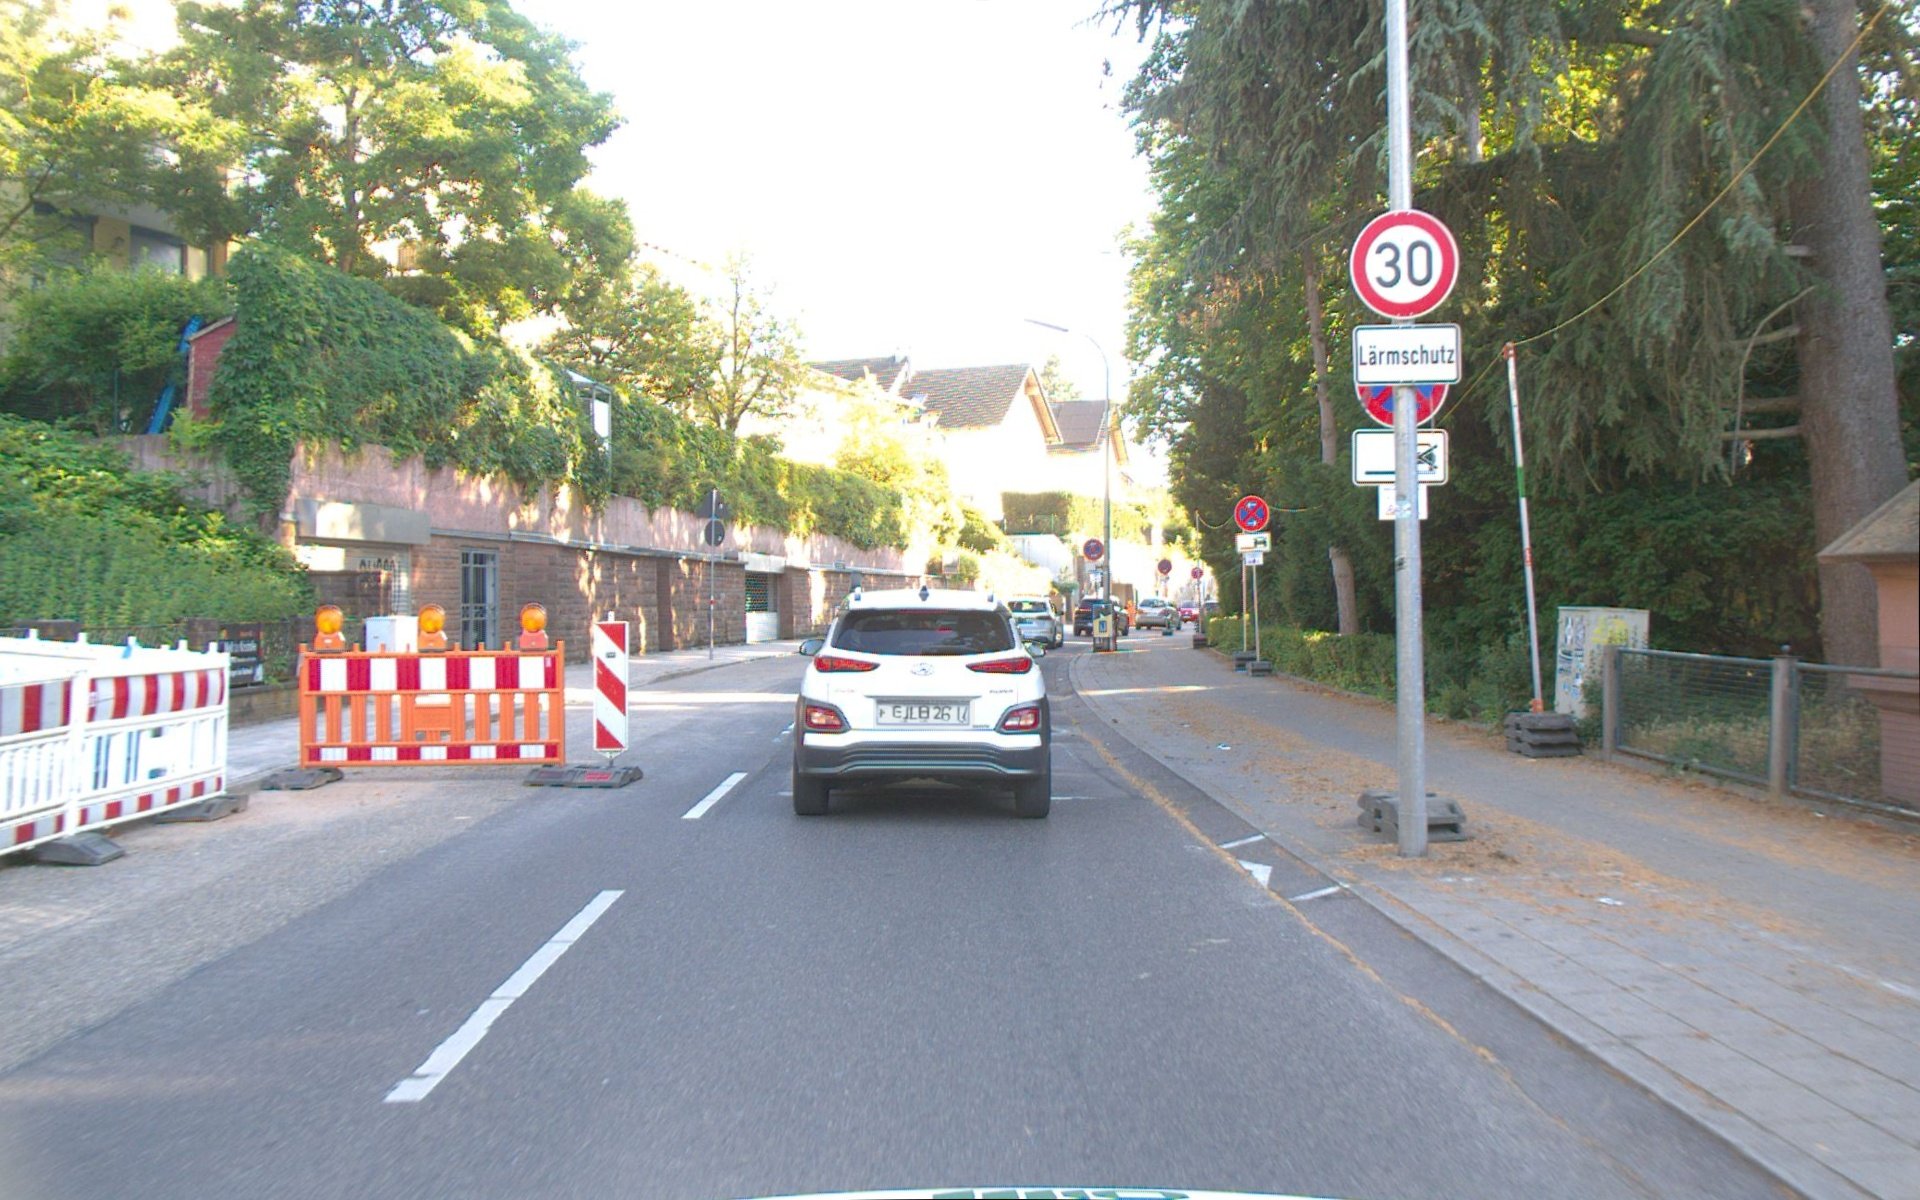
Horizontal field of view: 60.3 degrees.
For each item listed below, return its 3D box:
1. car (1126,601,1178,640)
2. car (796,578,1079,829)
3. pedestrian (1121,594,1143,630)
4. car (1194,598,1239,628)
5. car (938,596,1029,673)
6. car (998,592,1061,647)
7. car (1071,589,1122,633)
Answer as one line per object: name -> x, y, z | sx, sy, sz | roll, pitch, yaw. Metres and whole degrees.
car -> 9.562, 1.016, 81.948 | 1.793, 1.771, 4.002 | 3, 0, 17
car -> -0.333, 0.669, 12.781 | 1.785, 1.601, 3.995 | 2, 0, -6
pedestrian -> 9.361, 0.632, 90.217 | 1.056, 1.945, 0.841 | 1, 0, 15
car -> 15.261, 0.775, 98.216 | 1.794, 1.691, 4.000 | 1, 0, 21
car -> 0.437, 0.682, 35.041 | 1.673, 1.459, 4.363 | 2, 0, -2
car -> 2.182, 0.564, 50.737 | 1.767, 1.564, 4.002 | 2, 0, 4
car -> 5.632, 0.447, 67.814 | 1.792, 1.691, 4.003 | 2, 0, 8
